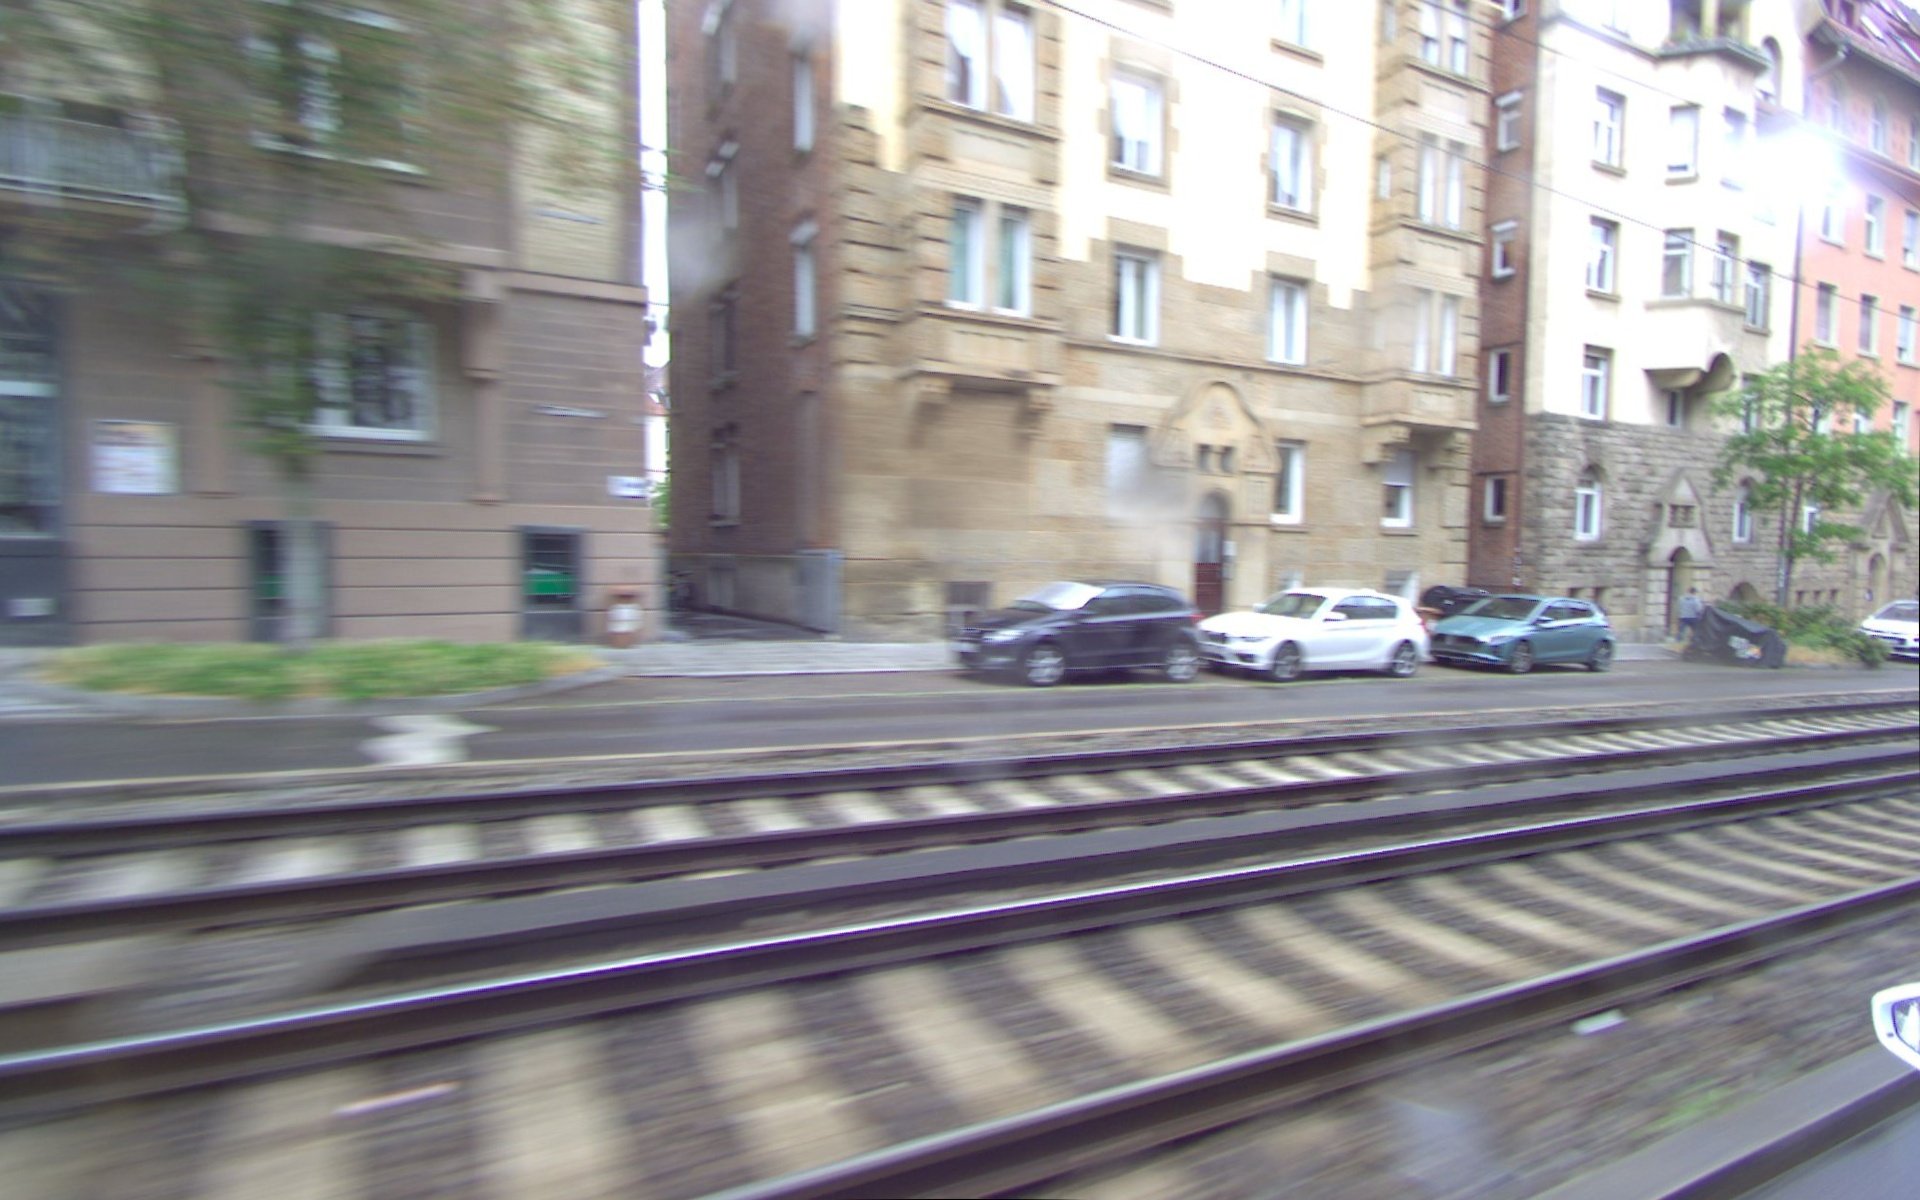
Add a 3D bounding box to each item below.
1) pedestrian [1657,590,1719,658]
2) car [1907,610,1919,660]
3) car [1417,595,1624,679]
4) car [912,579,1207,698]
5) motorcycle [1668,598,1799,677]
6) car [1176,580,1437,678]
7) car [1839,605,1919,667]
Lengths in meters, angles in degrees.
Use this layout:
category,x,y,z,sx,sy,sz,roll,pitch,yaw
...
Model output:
category,x,y,z,sx,sy,sz,roll,pitch,yaw
pedestrian,19.960,0.644,27.547,0.913,1.777,1.003,1,2,-28
car,32.115,1.222,31.455,4.911,1.530,1.986,2,4,-27
car,11.079,0.730,19.801,4.095,1.457,1.554,2,2,-29
car,1.474,0.564,14.709,3.950,1.506,1.758,3,1,-28
motorcycle,18.230,0.849,23.708,1.284,1.664,2.236,0,3,-44
car,5.857,0.491,16.922,4.208,1.445,1.661,2,2,-27
car,27.260,1.014,28.628,4.293,1.611,1.778,2,1,-26
